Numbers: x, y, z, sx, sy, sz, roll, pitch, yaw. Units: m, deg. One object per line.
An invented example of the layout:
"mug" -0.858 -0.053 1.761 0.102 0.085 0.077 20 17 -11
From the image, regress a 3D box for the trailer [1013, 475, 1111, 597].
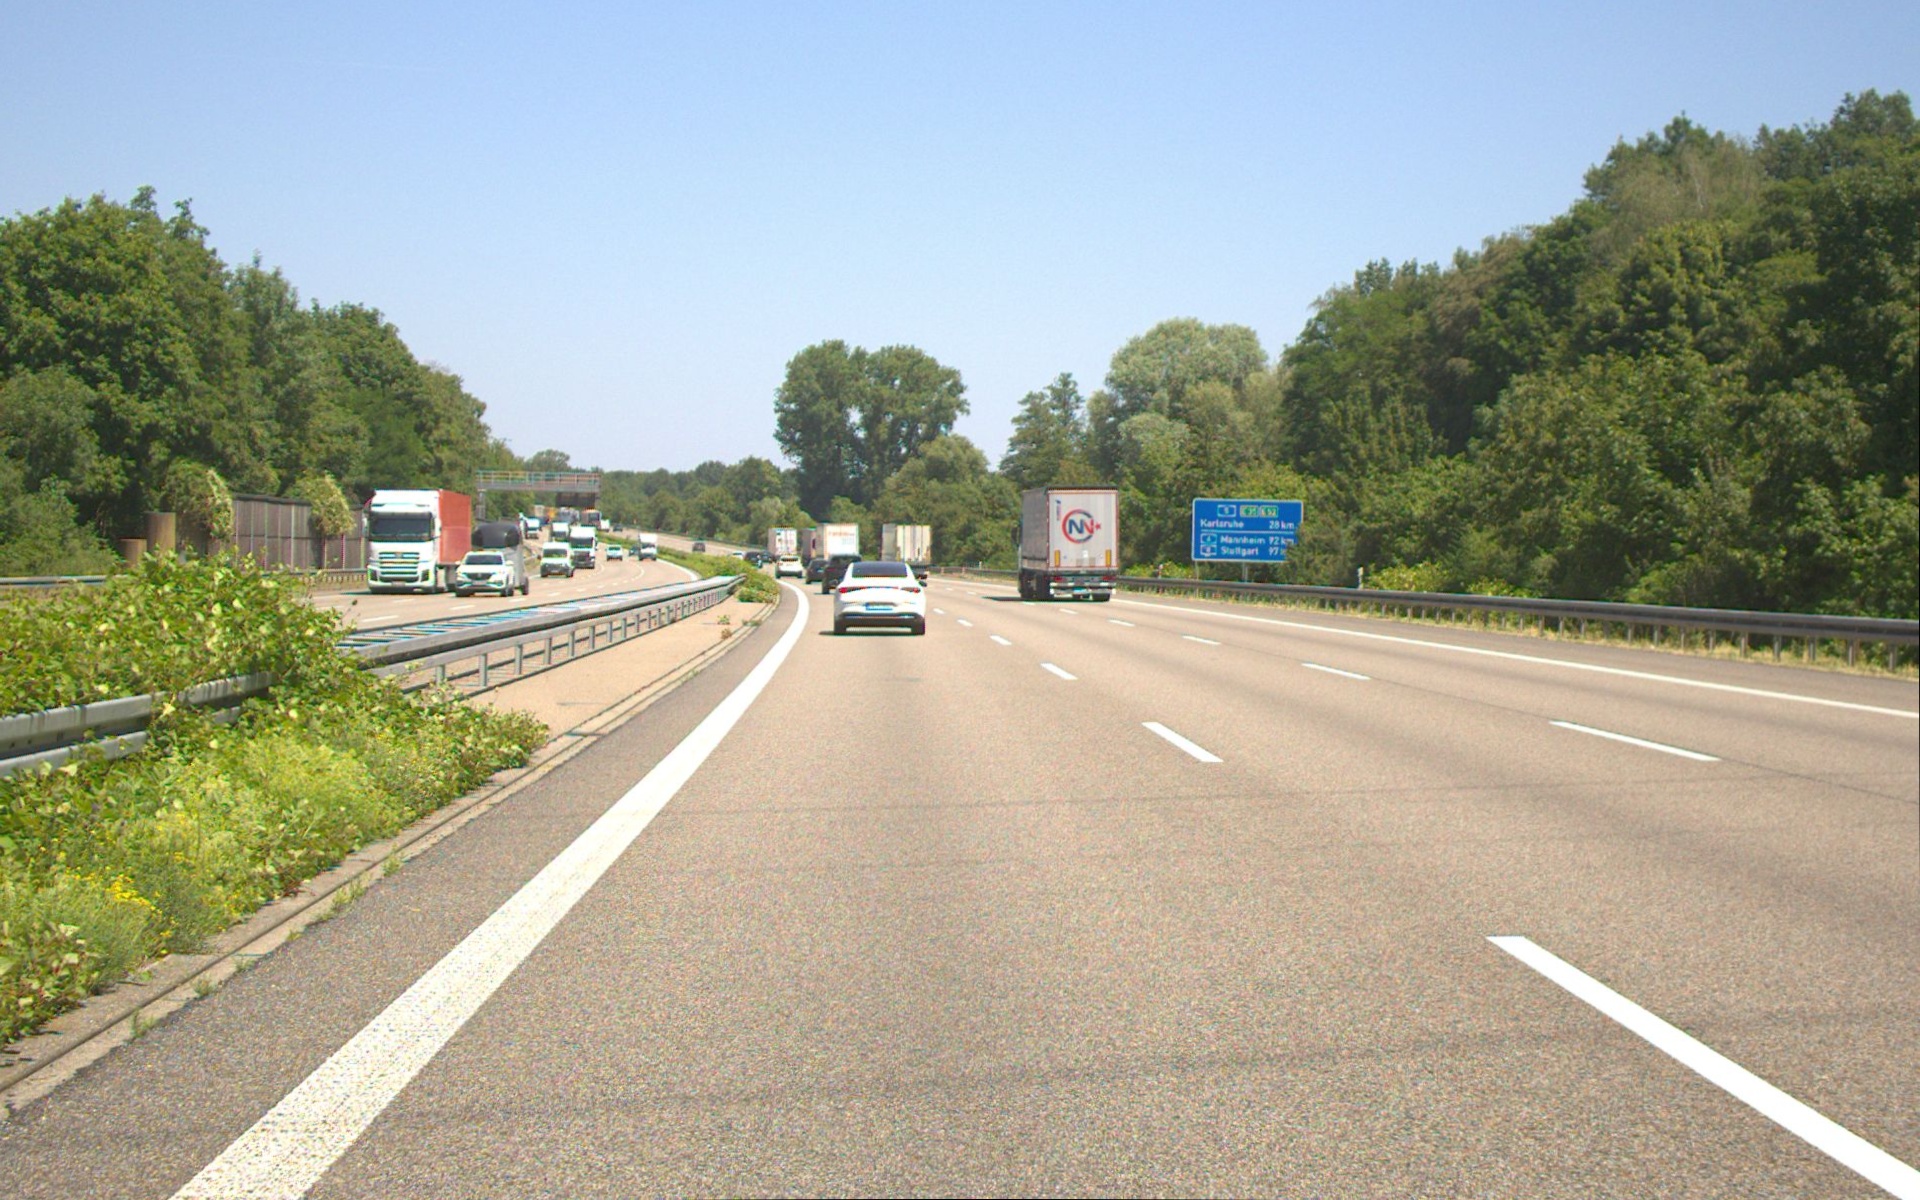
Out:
"trailer" 3.714 -2.357 128.199 2.624 4.246 14.062 1 1 -2

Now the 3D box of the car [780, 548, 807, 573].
"car" -12.266 -2.897 253.580 1.723 1.777 4.001 0 1 -7

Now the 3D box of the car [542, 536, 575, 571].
"car" -28.347 -3.307 242.450 2.023 2.423 5.414 0 1 -10

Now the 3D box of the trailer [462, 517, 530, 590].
"trailer" -17.022 -1.715 126.338 2.085 2.604 4.957 0 1 -3

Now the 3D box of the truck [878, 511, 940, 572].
"truck" -3.762 -4.248 249.735 3.491 4.296 10.991 1 1 -6

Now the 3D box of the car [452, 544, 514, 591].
"car" -16.890 -1.175 121.813 1.835 1.626 4.020 0 1 -3

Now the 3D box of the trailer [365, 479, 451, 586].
"trailer" -21.341 -2.589 133.087 2.688 4.028 6.038 1 1 -4

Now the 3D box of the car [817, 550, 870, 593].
"car" -4.984 -1.244 146.846 1.993 1.766 4.001 0 1 -6

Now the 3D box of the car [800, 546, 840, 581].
"car" -8.348 -2.185 204.427 1.993 2.007 4.001 0 1 -7

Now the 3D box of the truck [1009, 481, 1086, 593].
"truck" 3.416 -2.460 135.325 2.605 4.272 5.436 1 1 -2

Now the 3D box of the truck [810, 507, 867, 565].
"truck" -9.231 -4.842 260.444 3.359 4.296 10.831 1 1 -7

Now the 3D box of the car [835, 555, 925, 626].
"car" -1.582 -0.206 68.915 1.715 1.365 3.375 1 1 0
